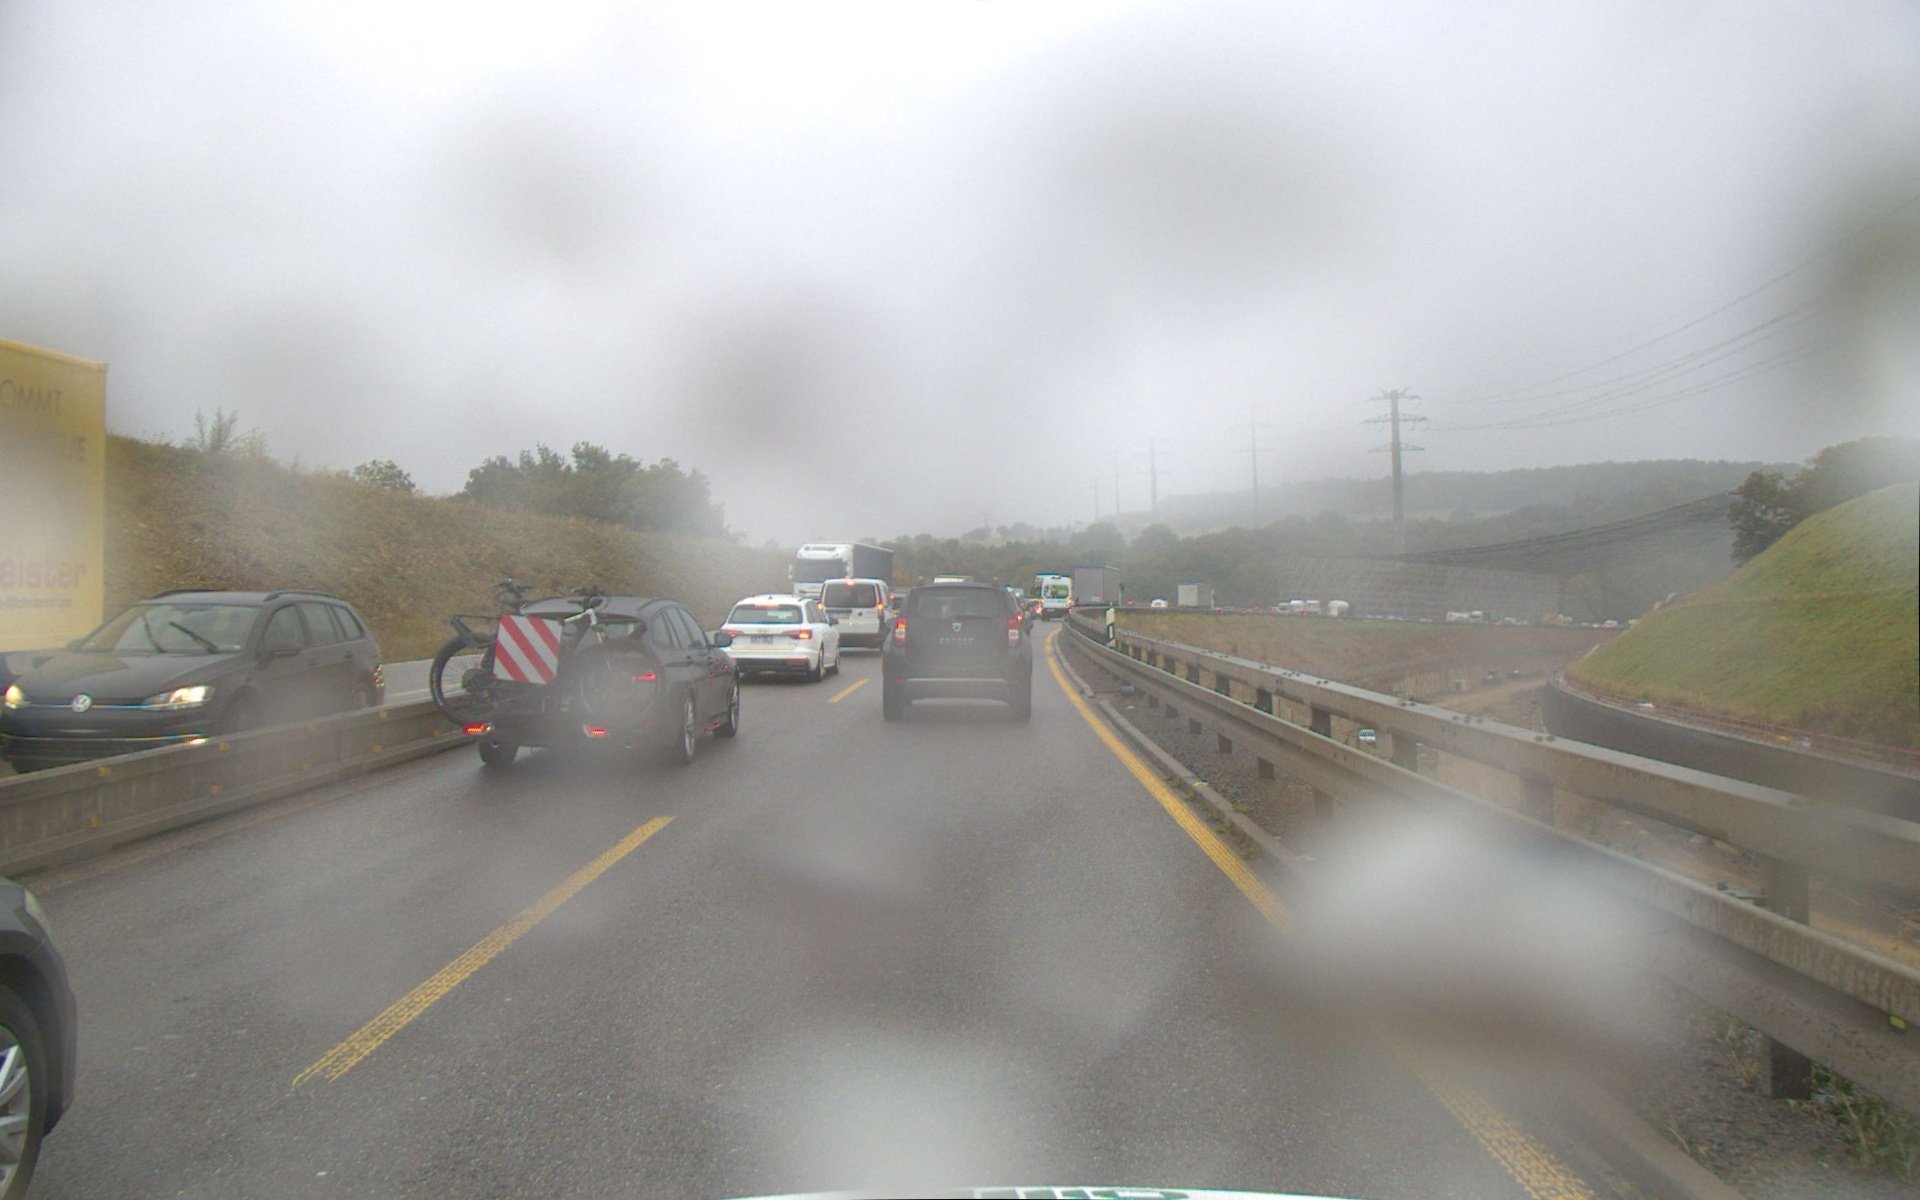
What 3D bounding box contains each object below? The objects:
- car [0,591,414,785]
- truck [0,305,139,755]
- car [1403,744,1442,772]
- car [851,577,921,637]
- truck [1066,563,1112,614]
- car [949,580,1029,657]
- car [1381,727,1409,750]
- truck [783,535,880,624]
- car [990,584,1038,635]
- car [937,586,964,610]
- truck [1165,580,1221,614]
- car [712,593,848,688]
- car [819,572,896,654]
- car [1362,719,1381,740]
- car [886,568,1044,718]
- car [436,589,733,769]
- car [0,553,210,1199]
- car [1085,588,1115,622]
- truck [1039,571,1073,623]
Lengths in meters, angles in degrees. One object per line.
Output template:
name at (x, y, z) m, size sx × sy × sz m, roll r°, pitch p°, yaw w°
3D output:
car at (-6.440, 0.660, 14.610) m, size 1.829 × 1.431 × 4.115 m, roll 1°, pitch 0°, yaw 0°
truck at (-10.061, -0.627, 13.147) m, size 2.711 × 4.066 × 8.424 m, roll 0°, pitch 0°, yaw 1°
car at (40.636, 13.886, 145.438) m, size 2.316 × 2.049 × 4.001 m, roll 1°, pitch 0°, yaw 1°
car at (-2.222, 0.199, 50.610) m, size 1.829 × 1.738 × 4.092 m, roll 1°, pitch 0°, yaw 1°
truck at (10.325, -0.906, 131.765) m, size 3.132 × 3.827 × 8.516 m, roll 1°, pitch 0°, yaw 8°
car at (0.685, 0.413, 40.109) m, size 1.829 × 1.738 × 4.000 m, roll 1°, pitch 0°, yaw 0°
car at (42.802, 13.628, 162.897) m, size 1.952 × 1.847 × 4.002 m, roll 0°, pitch 0°, yaw 3°
truck at (-6.448, -1.008, 85.705) m, size 2.871 × 4.169 × 14.398 m, roll 1°, pitch 0°, yaw 4°
car at (1.921, 0.317, 57.840) m, size 1.498 × 1.669 × 4.015 m, roll 1°, pitch 0°, yaw 4°
car at (-0.705, -0.124, 125.465) m, size 1.829 × 1.609 × 4.092 m, roll 2°, pitch -2°, yaw 1°
truck at (30.686, -0.382, 216.864) m, size 4.618 × 4.222 × 15.689 m, roll 1°, pitch 0°, yaw 18°
car at (-3.059, 0.639, 29.013) m, size 1.829 × 1.486 × 4.548 m, roll 1°, pitch 0°, yaw 0°
car at (-2.512, 0.290, 41.315) m, size 1.626 × 1.912 × 4.020 m, roll 1°, pitch 0°, yaw 0°
car at (46.439, 14.614, 186.632) m, size 1.951 × 2.049 × 4.003 m, roll 1°, pitch 0°, yaw 14°
car at (0.105, 0.476, 20.414) m, size 1.767 × 1.674 × 3.777 m, roll 0°, pitch 0°, yaw 1°
car at (-3.399, 0.652, 15.708) m, size 1.790 × 1.502 × 3.778 m, roll 0°, pitch 0°, yaw 3°
car at (-2.837, 0.694, 2.346) m, size 1.581 × 1.532 × 4.367 m, roll -1°, pitch 0°, yaw -1°
car at (8.413, 0.288, 99.300) m, size 1.737 × 1.949 × 4.002 m, roll 1°, pitch 0°, yaw 5°
truck at (6.304, -0.209, 108.179) m, size 2.104 × 3.221 × 6.462 m, roll 1°, pitch 0°, yaw 4°
